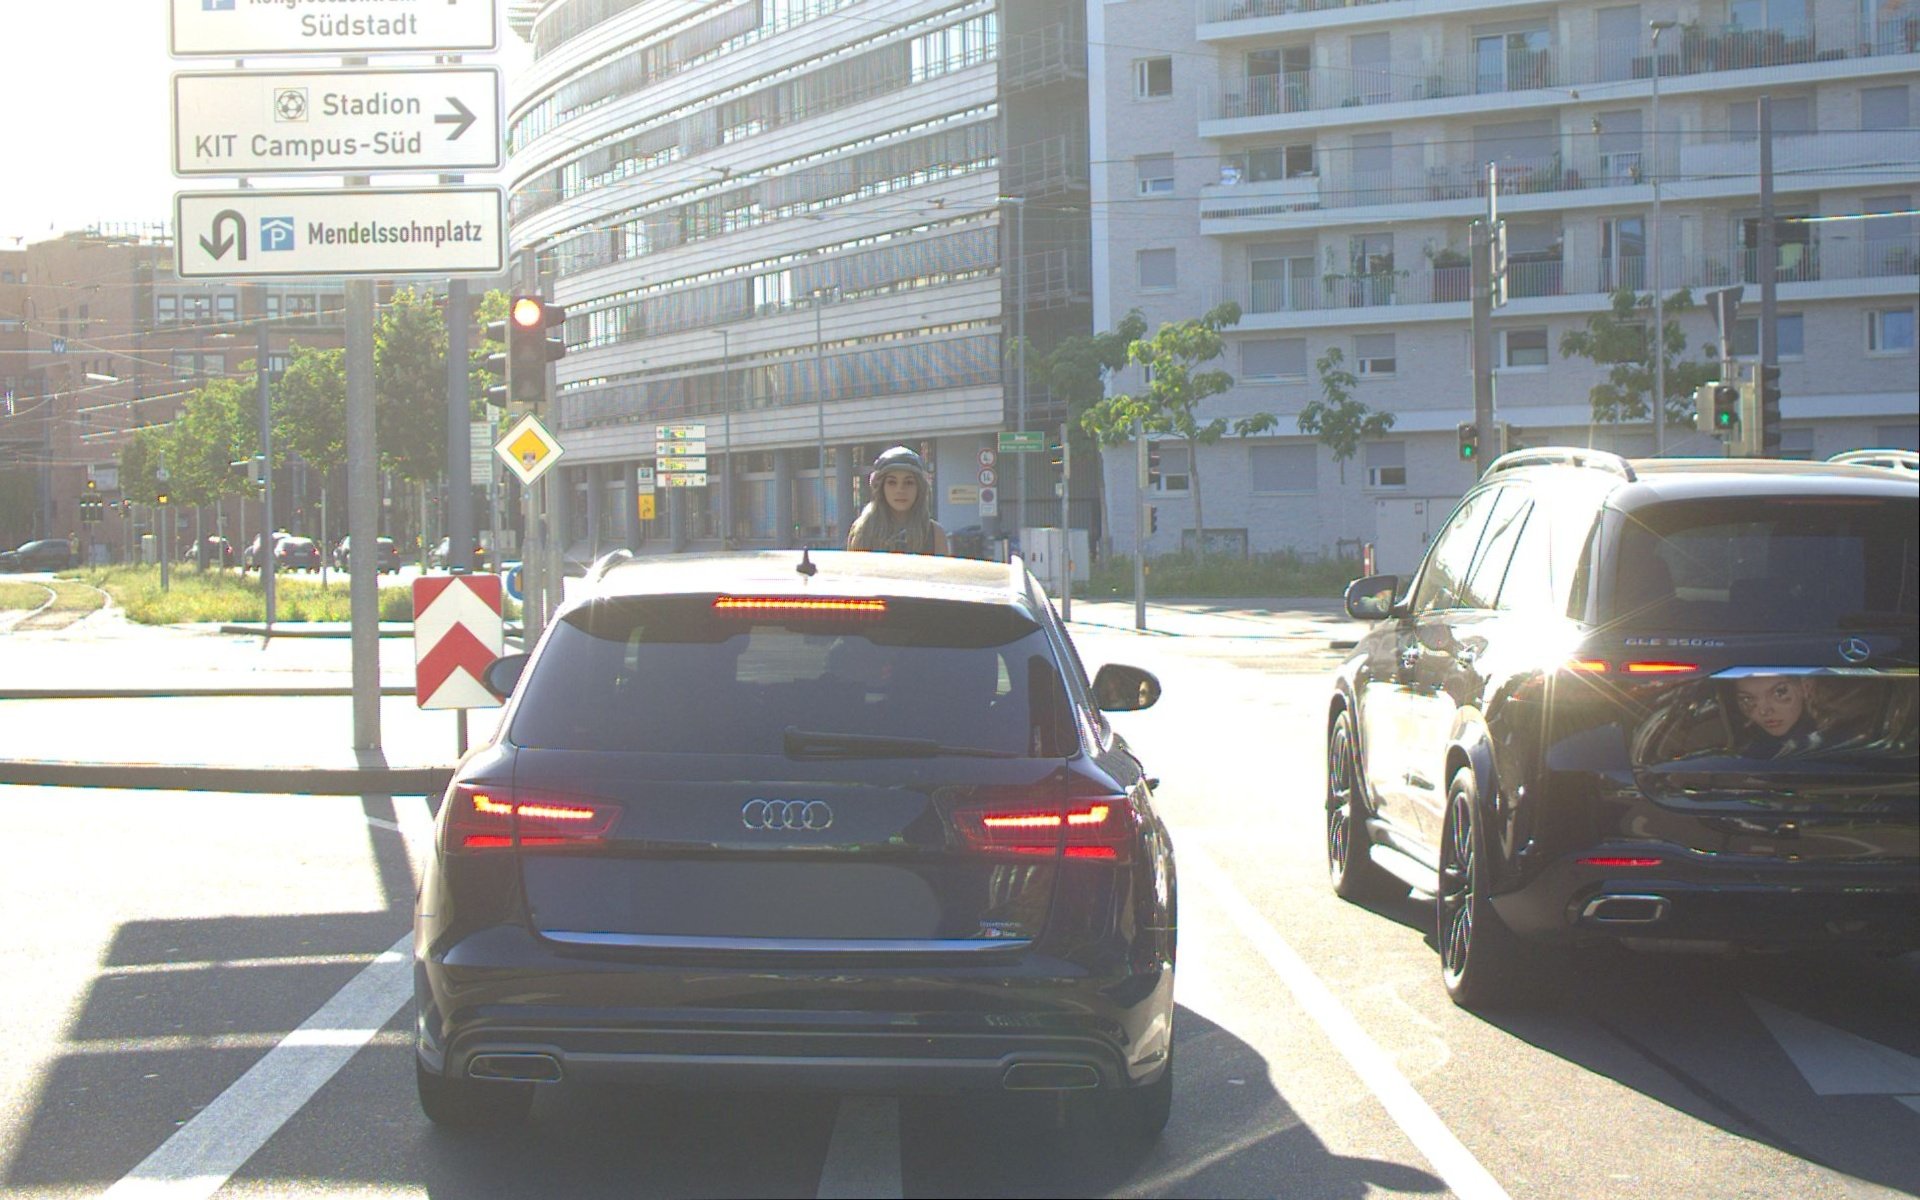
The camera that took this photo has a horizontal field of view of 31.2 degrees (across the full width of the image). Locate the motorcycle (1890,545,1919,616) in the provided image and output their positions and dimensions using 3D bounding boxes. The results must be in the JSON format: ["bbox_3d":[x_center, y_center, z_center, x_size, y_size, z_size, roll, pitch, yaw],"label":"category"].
[{"bbox_3d":[14.478,-0.290,48.642,2.455,0.997,1.170,0,1,19],"label":"motorcycle"}]

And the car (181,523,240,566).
[{"bbox_3d":[-31.885,-2.355,146.183,1.993,1.700,4.001,-2,1,-19],"label":"car"}]

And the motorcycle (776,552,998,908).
[{"bbox_3d":[-0.296,0.501,14.537,0.862,1.388,1.894,-1,1,-1],"label":"motorcycle"}]

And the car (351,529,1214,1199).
[{"bbox_3d":[-0.418,0.562,9.420,1.842,1.449,4.001,1,2,-1],"label":"car"}]

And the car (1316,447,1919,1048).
[{"bbox_3d":[2.517,0.367,12.042,2.003,1.709,4.373,1,2,-1],"label":"car"}]

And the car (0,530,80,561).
[{"bbox_3d":[-49.846,-2.933,185.095,4.397,1.634,2.000,-1,1,-28],"label":"car"}]

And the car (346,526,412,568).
[{"bbox_3d":[-23.473,-2.139,138.726,1.993,1.590,4.001,-2,1,-18],"label":"car"}]

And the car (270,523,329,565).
[{"bbox_3d":[-27.104,-2.285,141.025,1.993,1.590,4.001,-2,1,-16],"label":"car"}]

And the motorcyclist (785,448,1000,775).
[{"bbox_3d":[-0.278,0.041,14.337,0.862,1.322,0.681,-1,1,0],"label":"motorcyclist"}]
